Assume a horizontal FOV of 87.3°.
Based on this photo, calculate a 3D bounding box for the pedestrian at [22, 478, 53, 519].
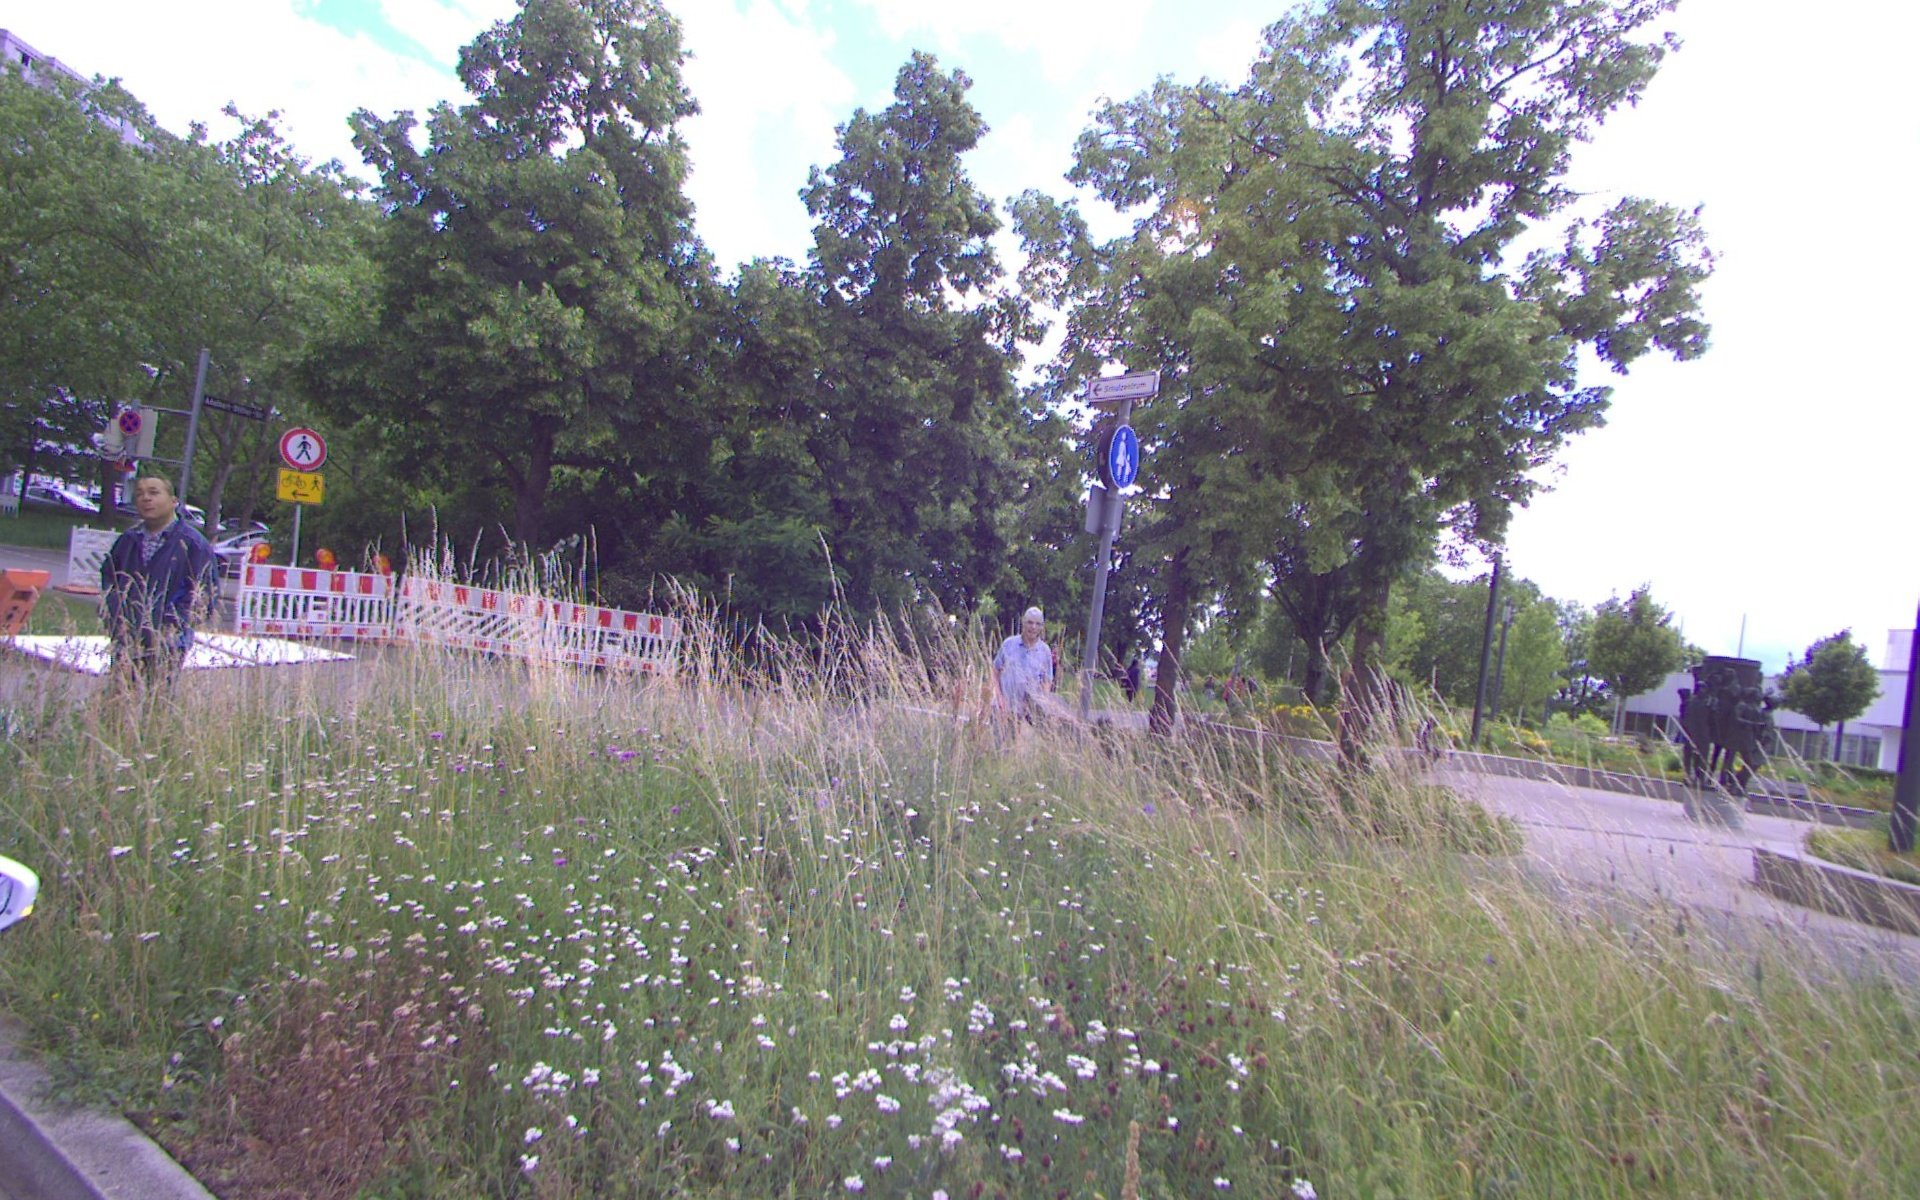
[{"bbox_3d":[-49.547,-5.469,54.020,0.838,2.025,0.806,7,-1,27],"label":"pedestrian"}]

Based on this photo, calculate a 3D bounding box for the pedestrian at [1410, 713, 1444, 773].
[{"bbox_3d":[10.761,3.292,23.183,0.560,1.277,0.582,7,-1,29],"label":"pedestrian"}]

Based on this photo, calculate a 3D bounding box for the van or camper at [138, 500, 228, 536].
[{"bbox_3d":[-43.651,-4.611,56.544,3.706,1.372,1.519,8,-2,-1],"label":"van or camper"}]

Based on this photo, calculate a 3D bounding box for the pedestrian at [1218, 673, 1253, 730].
[{"bbox_3d":[7.870,2.889,28.709,0.624,1.519,0.704,7,0,29],"label":"pedestrian"}]

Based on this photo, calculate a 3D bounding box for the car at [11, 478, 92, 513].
[{"bbox_3d":[-54.442,-6.252,60.324,3.345,1.420,1.486,7,-2,1],"label":"car"}]

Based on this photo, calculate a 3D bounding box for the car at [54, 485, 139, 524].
[{"bbox_3d":[-54.461,-5.994,63.457,3.751,1.653,1.674,9,-1,1],"label":"car"}]

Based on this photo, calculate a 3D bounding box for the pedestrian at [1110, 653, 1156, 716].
[{"bbox_3d":[5.047,2.451,29.297,0.974,1.671,0.871,7,0,21],"label":"pedestrian"}]

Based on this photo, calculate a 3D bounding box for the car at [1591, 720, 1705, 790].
[{"bbox_3d":[22.782,5.082,33.472,1.606,1.786,3.509,7,-2,9],"label":"car"}]

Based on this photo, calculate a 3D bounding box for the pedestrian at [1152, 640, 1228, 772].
[{"bbox_3d":[3.220,1.469,14.079,0.685,1.715,0.651,7,0,28],"label":"pedestrian"}]

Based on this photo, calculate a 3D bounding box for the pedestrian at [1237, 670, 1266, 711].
[{"bbox_3d":[13.037,4.043,44.959,0.974,1.671,0.871,7,0,21],"label":"pedestrian"}]

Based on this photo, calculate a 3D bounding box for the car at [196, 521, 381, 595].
[{"bbox_3d":[-20.965,-1.279,31.611,1.744,1.604,4.405,6,-2,33],"label":"car"}]

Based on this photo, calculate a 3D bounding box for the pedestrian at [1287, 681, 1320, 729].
[{"bbox_3d":[13.238,4.039,38.760,0.974,1.671,0.871,7,0,21],"label":"pedestrian"}]

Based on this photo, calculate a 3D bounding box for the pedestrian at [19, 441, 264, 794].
[{"bbox_3d":[-4.529,0.102,5.654,0.720,1.761,0.949,8,-1,-29],"label":"pedestrian"}]

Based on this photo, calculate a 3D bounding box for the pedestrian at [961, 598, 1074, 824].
[{"bbox_3d":[0.493,0.937,8.790,0.715,1.812,0.694,8,0,2],"label":"pedestrian"}]

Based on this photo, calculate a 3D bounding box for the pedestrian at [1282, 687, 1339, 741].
[{"bbox_3d":[7.213,2.343,20.725,0.703,0.959,0.747,8,-1,-21],"label":"pedestrian"}]

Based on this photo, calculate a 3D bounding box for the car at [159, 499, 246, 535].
[{"bbox_3d":[-44.353,-4.847,58.950,3.820,1.482,1.486,7,-1,1],"label":"car"}]

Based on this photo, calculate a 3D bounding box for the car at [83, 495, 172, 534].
[{"bbox_3d":[-43.772,-4.495,52.937,3.345,1.420,1.486,7,-2,2],"label":"car"}]

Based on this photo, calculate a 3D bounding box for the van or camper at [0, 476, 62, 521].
[{"bbox_3d":[-44.308,-4.847,46.495,3.925,1.704,1.847,8,-1,4],"label":"van or camper"}]

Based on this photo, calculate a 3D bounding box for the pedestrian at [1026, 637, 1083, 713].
[{"bbox_3d":[2.315,1.823,24.515,0.974,1.671,0.871,7,0,21],"label":"pedestrian"}]

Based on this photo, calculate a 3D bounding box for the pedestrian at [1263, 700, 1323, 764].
[{"bbox_3d":[5.198,2.047,15.703,0.685,0.874,0.651,7,0,28],"label":"pedestrian"}]
